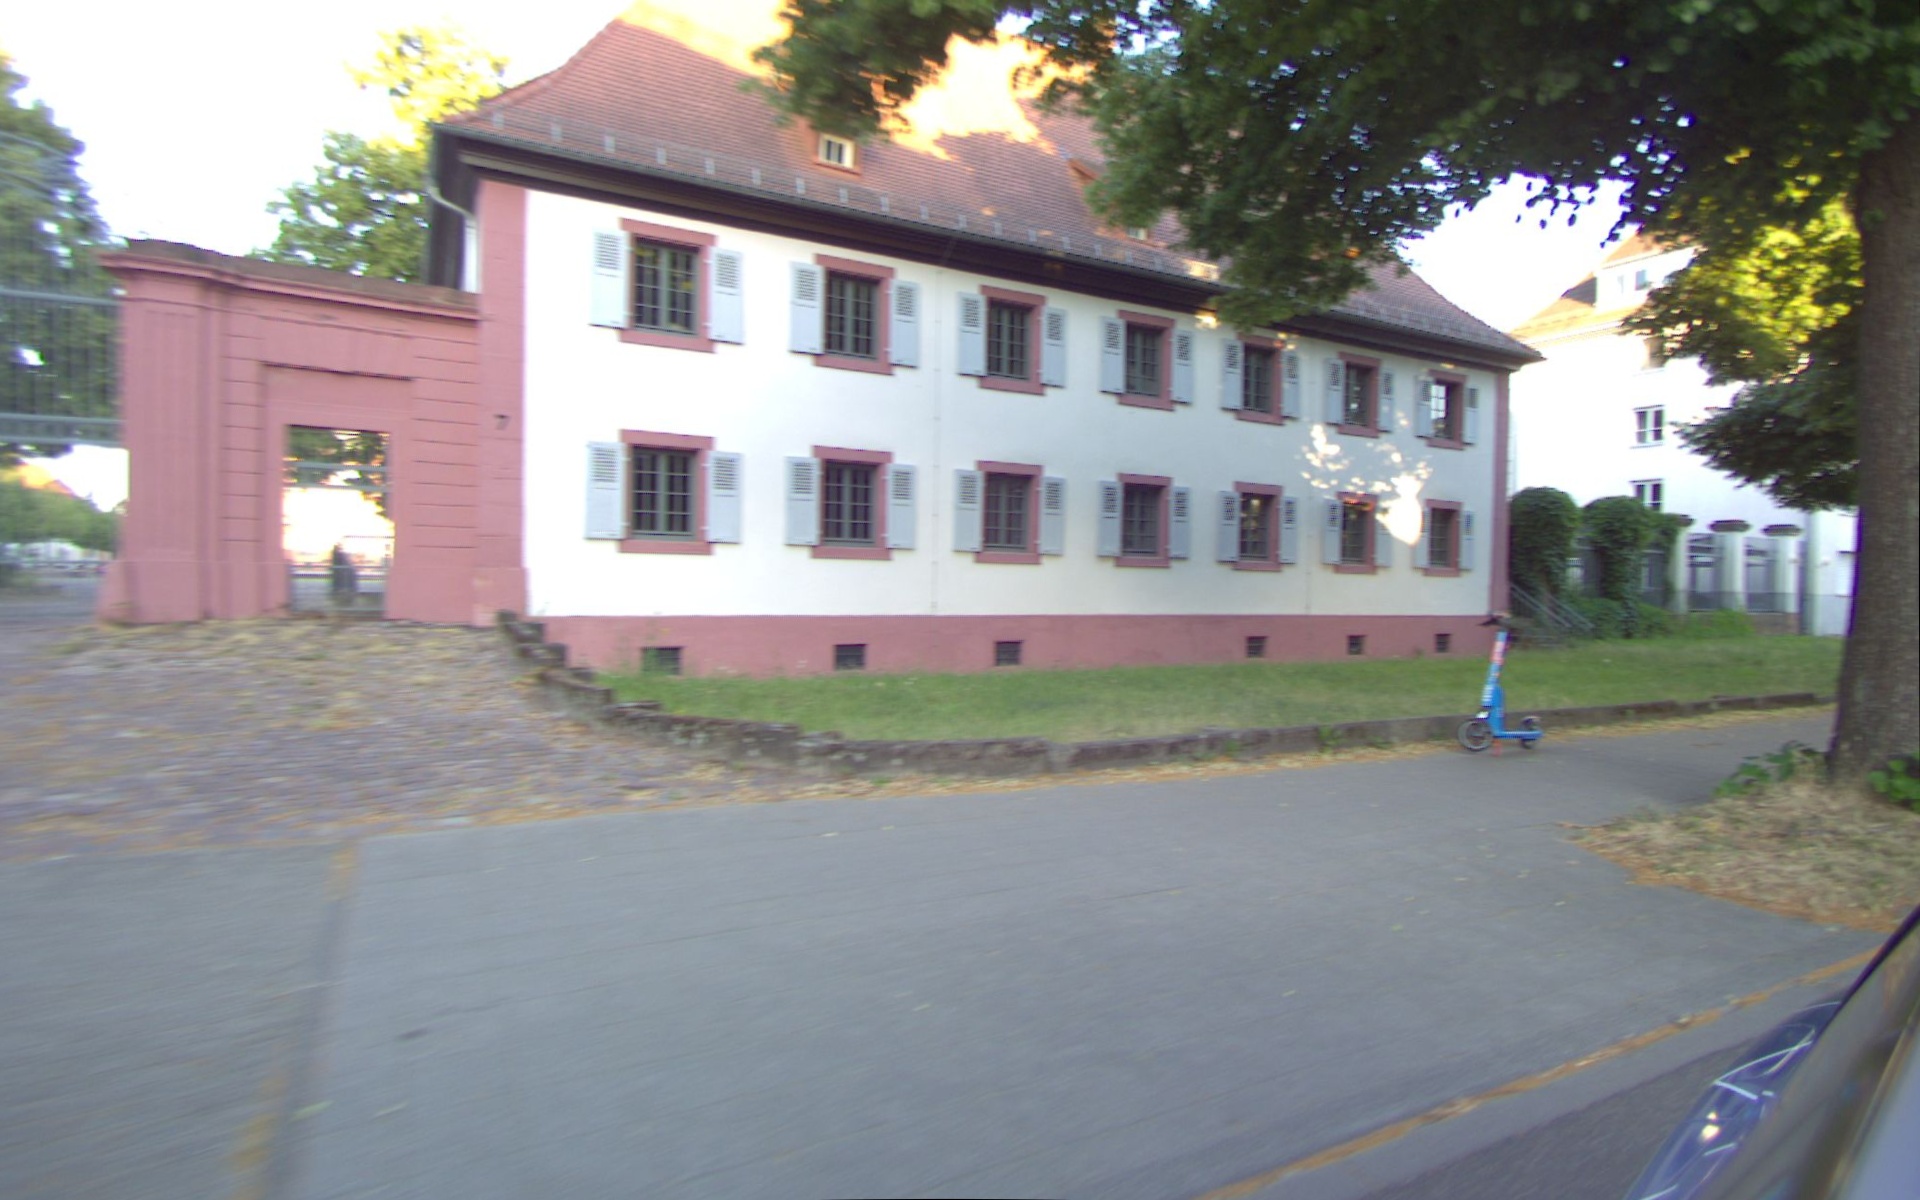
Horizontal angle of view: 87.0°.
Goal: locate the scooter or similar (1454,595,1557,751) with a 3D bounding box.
[{"bbox_3d":[4.836,0.613,8.951,1.243,1.292,0.240,-1,2,-34],"label":"scooter or similar"}]
